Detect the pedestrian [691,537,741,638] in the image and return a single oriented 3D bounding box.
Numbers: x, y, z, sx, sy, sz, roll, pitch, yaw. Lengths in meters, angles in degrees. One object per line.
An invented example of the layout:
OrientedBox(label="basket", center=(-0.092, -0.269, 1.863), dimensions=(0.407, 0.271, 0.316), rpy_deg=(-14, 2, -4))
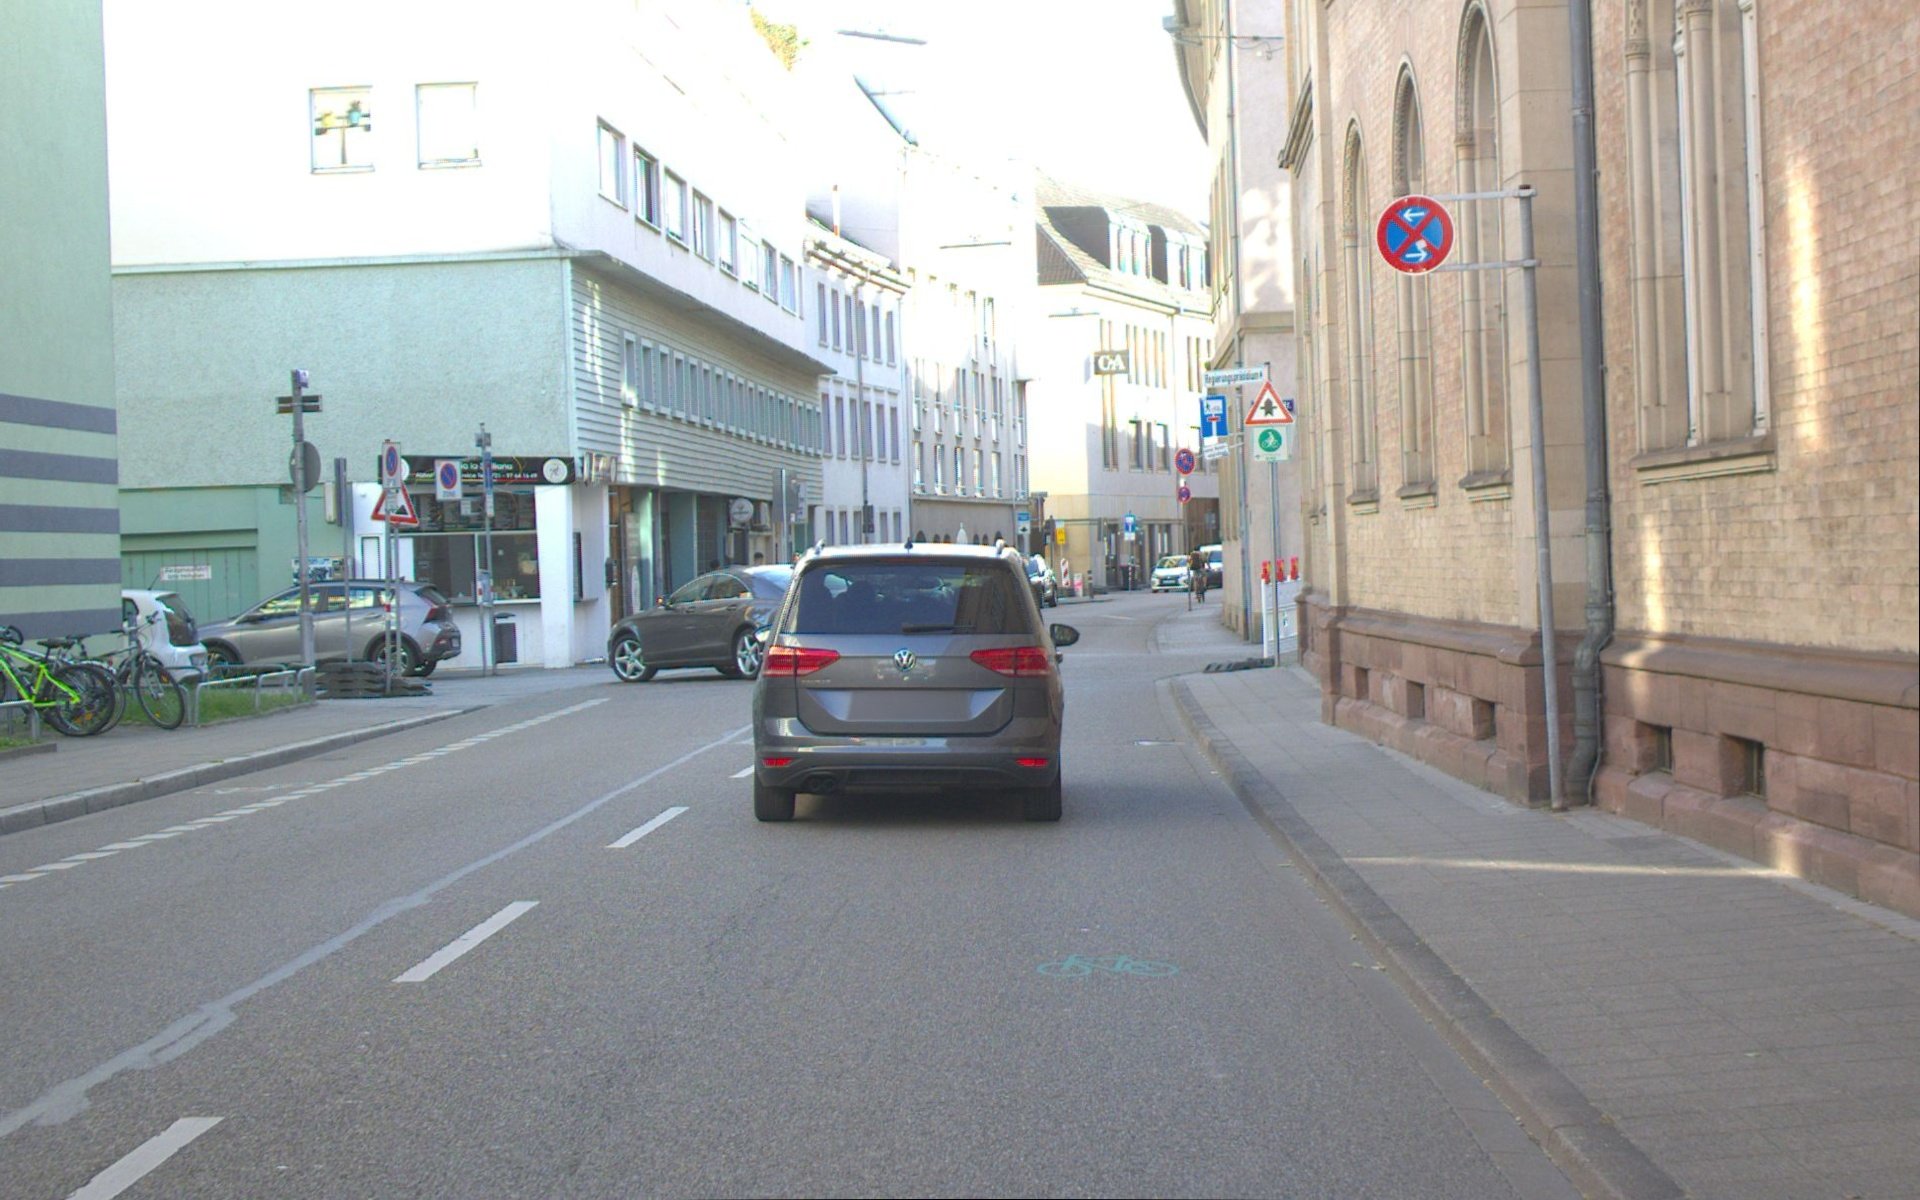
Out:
OrientedBox(label="pedestrian", center=(-4.463, -0.233, 62.888), dimensions=(0.556, 1.823, 0.730), rpy_deg=(-2, 1, 26))

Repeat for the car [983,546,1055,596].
OrientedBox(label="car", center=(1.888, -0.938, 109.488), dimensions=(1.866, 1.463, 3.833), rpy_deg=(-2, 1, 7))

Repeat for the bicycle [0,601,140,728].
OrientedBox(label="bicycle", center=(-8.743, 0.604, 32.450), dimensions=(1.928, 1.175, 0.614), rpy_deg=(1, 0, -13))

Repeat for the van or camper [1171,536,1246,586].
OrientedBox(label="van or camper", center=(10.507, -1.656, 145.144), dimensions=(1.995, 2.007, 4.994), rpy_deg=(-1, 1, 18))

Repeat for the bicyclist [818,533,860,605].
OrientedBox(label="bicyclist", center=(-2.648, -0.683, 75.390), dimensions=(0.831, 1.556, 0.759), rpy_deg=(-2, 1, 2))

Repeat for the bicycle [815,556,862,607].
OrientedBox(label="bicycle", center=(-2.651, -0.408, 75.341), dimensions=(0.831, 1.050, 2.549), rpy_deg=(-2, 1, 2))

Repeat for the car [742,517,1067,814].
OrientedBox(label="car", center=(-0.276, 0.330, 20.836), dimensions=(1.762, 1.601, 4.000), rpy_deg=(1, 1, 1))

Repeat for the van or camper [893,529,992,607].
OrientedBox(label="van or camper", center=(-0.447, -0.902, 93.387), dimensions=(1.994, 2.007, 4.482), rpy_deg=(-2, 1, 8))

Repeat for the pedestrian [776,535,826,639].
OrientedBox(label="pedestrian", center=(-2.827, -0.243, 61.210), dimensions=(0.556, 1.823, 0.730), rpy_deg=(-2, 1, 26))

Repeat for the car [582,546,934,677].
OrientedBox(label="car", center=(-2.639, 0.157, 44.043), dimensions=(1.995, 1.536, 4.626), rpy_deg=(-3, 1, -42))

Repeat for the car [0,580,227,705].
OrientedBox(label="car", center=(-11.421, 0.557, 44.148), dimensions=(3.501, 1.438, 1.813), rpy_deg=(-2, 1, 4))

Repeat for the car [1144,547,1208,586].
OrientedBox(label="car", center=(8.792, -1.369, 139.480), dimensions=(1.735, 1.463, 3.997), rpy_deg=(-2, 1, 16))

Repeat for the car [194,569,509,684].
OrientedBox(label="car", center=(-8.801, 0.367, 49.917), dimensions=(4.098, 1.438, 1.947), rpy_deg=(-2, 1, 4))

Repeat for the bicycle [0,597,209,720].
OrientedBox(label="bicycle", center=(-8.427, 0.574, 33.909), dimensions=(1.928, 1.175, 0.613), rpy_deg=(1, 0, -7))
